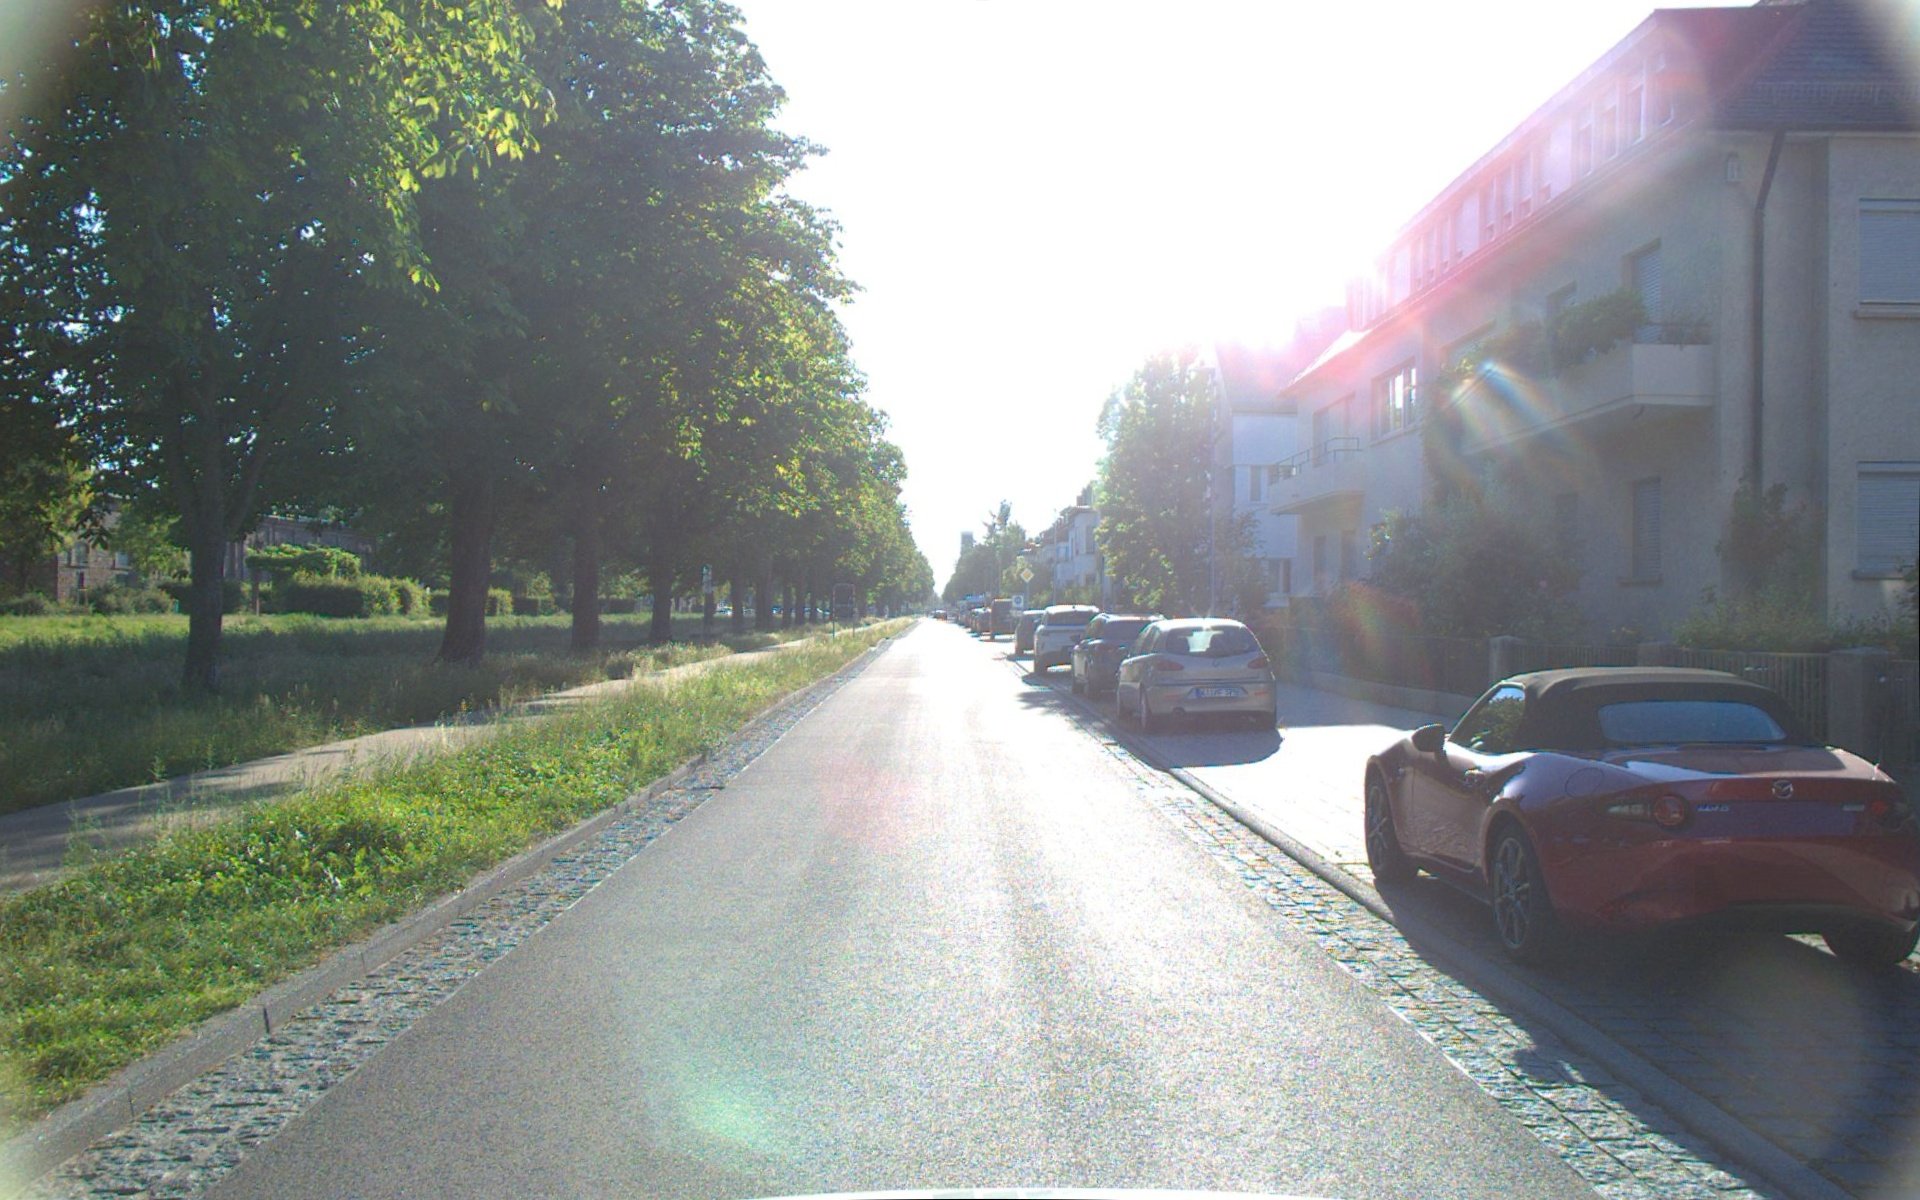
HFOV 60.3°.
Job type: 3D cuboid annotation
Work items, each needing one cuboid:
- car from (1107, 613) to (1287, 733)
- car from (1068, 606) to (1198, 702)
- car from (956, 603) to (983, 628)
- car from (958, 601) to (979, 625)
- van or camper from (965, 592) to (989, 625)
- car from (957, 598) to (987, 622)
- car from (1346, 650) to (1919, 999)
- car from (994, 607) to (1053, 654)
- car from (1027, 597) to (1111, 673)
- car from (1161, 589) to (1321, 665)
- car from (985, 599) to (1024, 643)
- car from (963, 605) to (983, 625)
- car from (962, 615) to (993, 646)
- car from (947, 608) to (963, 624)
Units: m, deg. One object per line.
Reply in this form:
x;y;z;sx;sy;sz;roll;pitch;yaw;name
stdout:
3.080;0.908;22.294;1.757;1.404;4.077;-1;0;-1;car
2.979;0.898;29.196;1.757;1.520;4.193;-1;0;-1;car
0.691;1.094;119.865;1.795;1.714;4.414;2;0;-1;car
0.896;1.425;178.117;2.084;2.577;5.185;0;0;-3;car
1.495;0.797;147.800;1.904;2.826;5.938;2;-1;0;van or camper
0.788;0.703;112.741;1.684;1.601;4.206;-1;-1;-4;car
3.242;0.913;8.259;1.664;1.279;3.879;0;-1;-1;car
2.114;1.008;56.189;1.757;1.508;4.122;-1;0;-1;car
2.632;0.863;40.899;1.866;1.738;4.575;-2;-1;2;car
7.603;0.718;44.923;3.906;1.877;1.813;2;1;-7;car
2.300;1.094;86.238;1.867;2.169;4.814;-1;0;0;car
1.104;1.317;141.484;1.630;1.621;4.085;2;-1;-1;car
1.063;1.888;102.428;1.757;1.802;4.471;-1;0;-1;car
-0.499;1.660;171.727;1.616;1.557;3.851;0;0;0;car
